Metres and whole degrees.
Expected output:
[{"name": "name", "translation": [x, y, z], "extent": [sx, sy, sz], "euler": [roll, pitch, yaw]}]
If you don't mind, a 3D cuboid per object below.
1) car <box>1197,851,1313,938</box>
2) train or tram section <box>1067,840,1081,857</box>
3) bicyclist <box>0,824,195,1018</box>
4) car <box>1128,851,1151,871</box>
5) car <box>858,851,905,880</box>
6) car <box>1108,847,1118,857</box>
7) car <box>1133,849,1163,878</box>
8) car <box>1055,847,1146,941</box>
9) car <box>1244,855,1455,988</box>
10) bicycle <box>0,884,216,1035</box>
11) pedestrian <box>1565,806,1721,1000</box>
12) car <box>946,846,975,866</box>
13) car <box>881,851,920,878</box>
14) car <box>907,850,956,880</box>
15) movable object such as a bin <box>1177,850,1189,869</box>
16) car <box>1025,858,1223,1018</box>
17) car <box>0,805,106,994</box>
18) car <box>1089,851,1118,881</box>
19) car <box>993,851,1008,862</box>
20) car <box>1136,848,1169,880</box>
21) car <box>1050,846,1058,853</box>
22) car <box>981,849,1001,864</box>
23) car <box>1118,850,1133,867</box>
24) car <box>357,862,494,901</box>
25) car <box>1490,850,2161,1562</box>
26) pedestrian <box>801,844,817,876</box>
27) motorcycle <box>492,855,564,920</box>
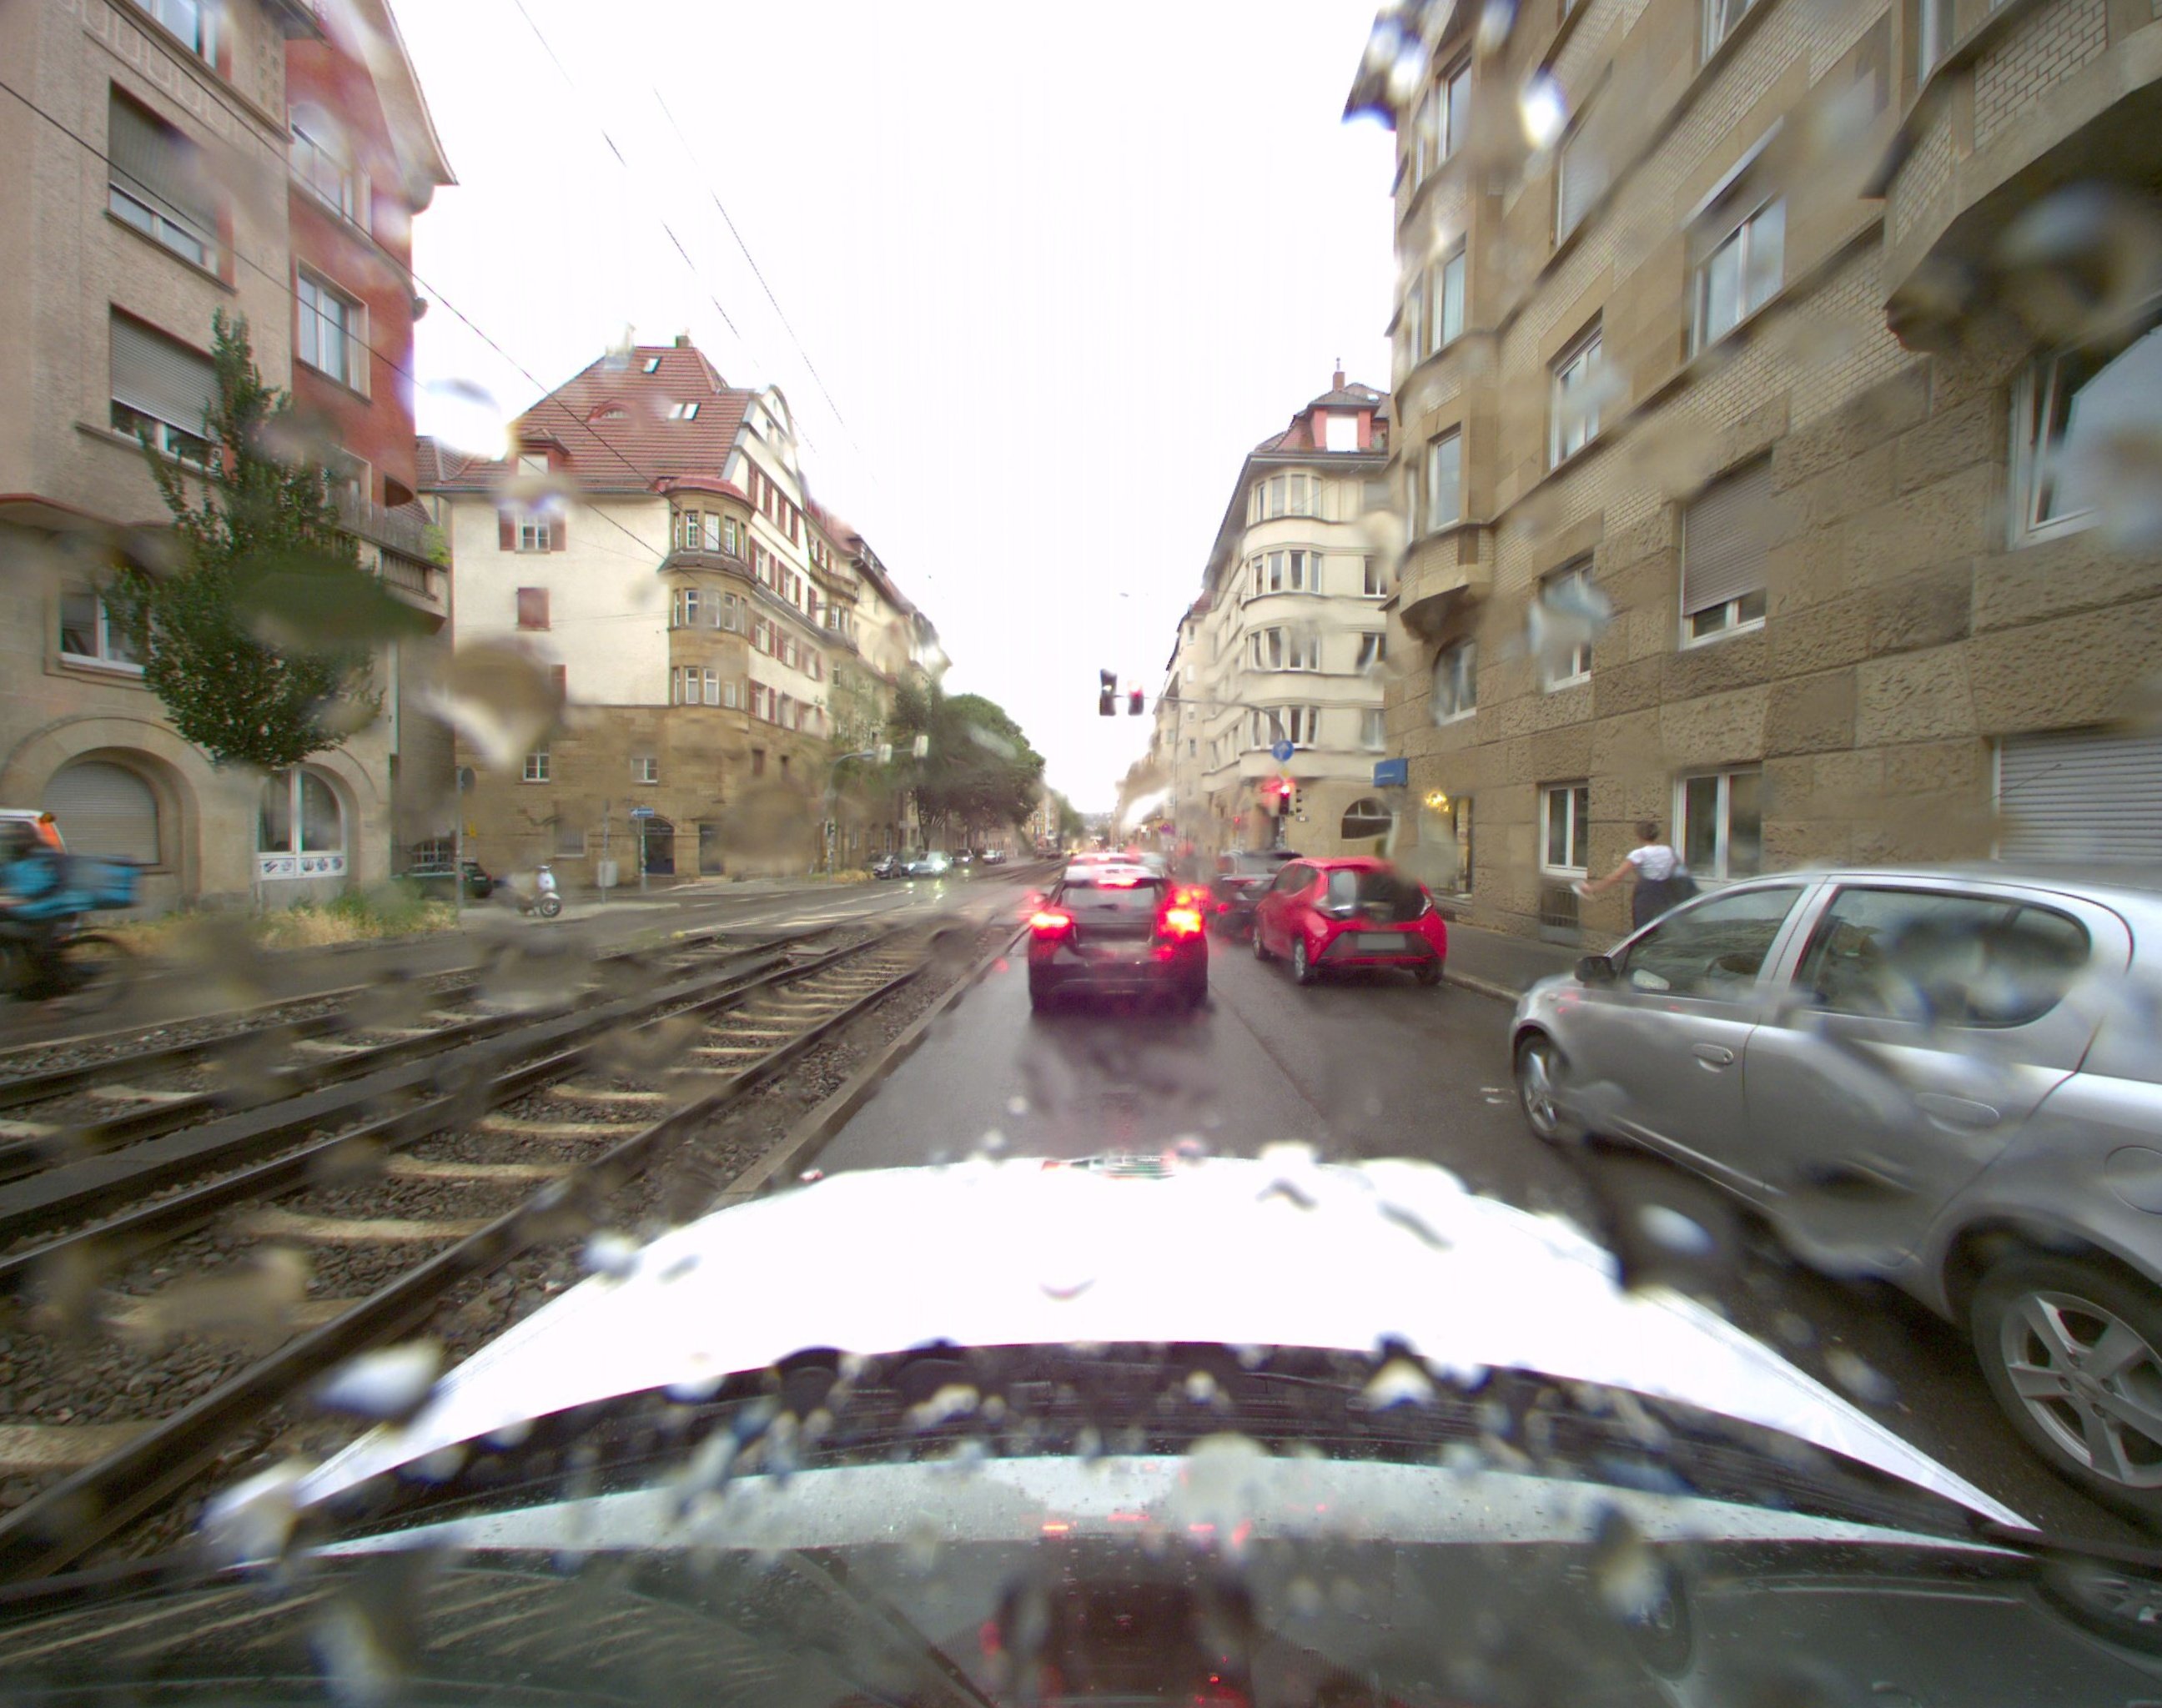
[{"name": "car", "translation": [3.239, 0.691, 15.813], "extent": [1.539, 1.486, 3.831], "euler": [0, 0, 2]}, {"name": "train or tram section", "translation": [-1.568, -1.270, 188.927], "extent": [2.772, 3.861, 10.433], "euler": [0, -1, 2]}, {"name": "bicyclist", "translation": [-9.142, 0.559, 7.356], "extent": [0.880, 1.597, 1.254], "euler": [0, -1, 3]}, {"name": "car", "translation": [4.407, 0.533, 61.587], "extent": [1.539, 1.486, 3.549], "euler": [0, 0, 2]}, {"name": "car", "translation": [-11.262, 0.640, 46.119], "extent": [1.747, 1.552, 4.033], "euler": [0, -1, -2]}, {"name": "car", "translation": [6.249, -0.465, 158.463], "extent": [1.986, 1.876, 4.001], "euler": [0, -1, 2]}, {"name": "car", "translation": [3.835, 0.529, 47.179], "extent": [1.539, 1.590, 3.549], "euler": [0, 0, 2]}, {"name": "car", "translation": [0.388, 0.701, 15.963], "extent": [1.559, 1.609, 3.815], "euler": [0, -1, 2]}, {"name": "car", "translation": [3.273, 0.736, 10.569], "extent": [1.637, 1.448, 3.298], "euler": [0, 0, -1]}, {"name": "bicycle", "translation": [-9.151, 0.887, 7.170], "extent": [0.820, 1.186, 2.039], "euler": [0, -1, 3]}, {"name": "pedestrian", "translation": [5.391, 0.446, 7.891], "extent": [0.739, 1.748, 1.111], "euler": [0, -1, 2]}, {"name": "car", "translation": [-10.606, 0.216, 72.142], "extent": [1.868, 1.737, 3.920], "euler": [0, -1, 2]}, {"name": "car", "translation": [-11.294, 0.646, 51.154], "extent": [1.713, 1.611, 3.914], "euler": [0, -1, -3]}, {"name": "car", "translation": [-8.277, 0.581, 45.434], "extent": [1.891, 1.588, 3.974], "euler": [0, -1, 2]}, {"name": "movable object such as a bin", "translation": [7.465, 0.427, 59.560], "extent": [0.873, 1.389, 0.984], "euler": [0, -1, 5]}, {"name": "car", "translation": [0.462, 0.782, 9.567], "extent": [1.822, 1.458, 4.105], "euler": [0, 0, 2]}, {"name": "car", "translation": [-12.126, 0.466, 7.212], "extent": [1.725, 1.975, 4.341], "euler": [0, -1, 0]}, {"name": "car", "translation": [1.215, 0.655, 45.712], "extent": [1.539, 1.636, 3.686], "euler": [0, 0, 0]}, {"name": "car", "translation": [-9.809, 0.297, 99.015], "extent": [1.443, 1.331, 3.271], "euler": [0, -1, 0]}, {"name": "car", "translation": [3.694, 0.485, 42.705], "extent": [1.539, 1.590, 3.549], "euler": [0, 0, 2]}, {"name": "car", "translation": [-5.243, -0.845, 156.493], "extent": [1.372, 1.249, 3.297], "euler": [0, -1, 0]}, {"name": "car", "translation": [-9.878, 0.309, 89.600], "extent": [1.583, 1.581, 3.920], "euler": [0, -1, 2]}, {"name": "car", "translation": [4.016, 0.408, 73.677], "extent": [1.289, 1.442, 2.930], "euler": [0, 0, 2]}, {"name": "car", "translation": [-24.390, 1.006, 30.410], "extent": [3.633, 1.404, 1.699], "euler": [0, -1, -3]}, {"name": "car", "translation": [3.143, 0.742, 3.104], "extent": [1.608, 1.467, 3.314], "euler": [-2, 0, 3]}, {"name": "pedestrian", "translation": [-14.123, 0.308, 42.323], "extent": [0.630, 1.672, 0.701], "euler": [0, -1, -6]}, {"name": "motorcycle", "translation": [-12.072, 0.710, 17.768], "extent": [1.577, 1.365, 0.628], "euler": [-1, -1, 28]}]
